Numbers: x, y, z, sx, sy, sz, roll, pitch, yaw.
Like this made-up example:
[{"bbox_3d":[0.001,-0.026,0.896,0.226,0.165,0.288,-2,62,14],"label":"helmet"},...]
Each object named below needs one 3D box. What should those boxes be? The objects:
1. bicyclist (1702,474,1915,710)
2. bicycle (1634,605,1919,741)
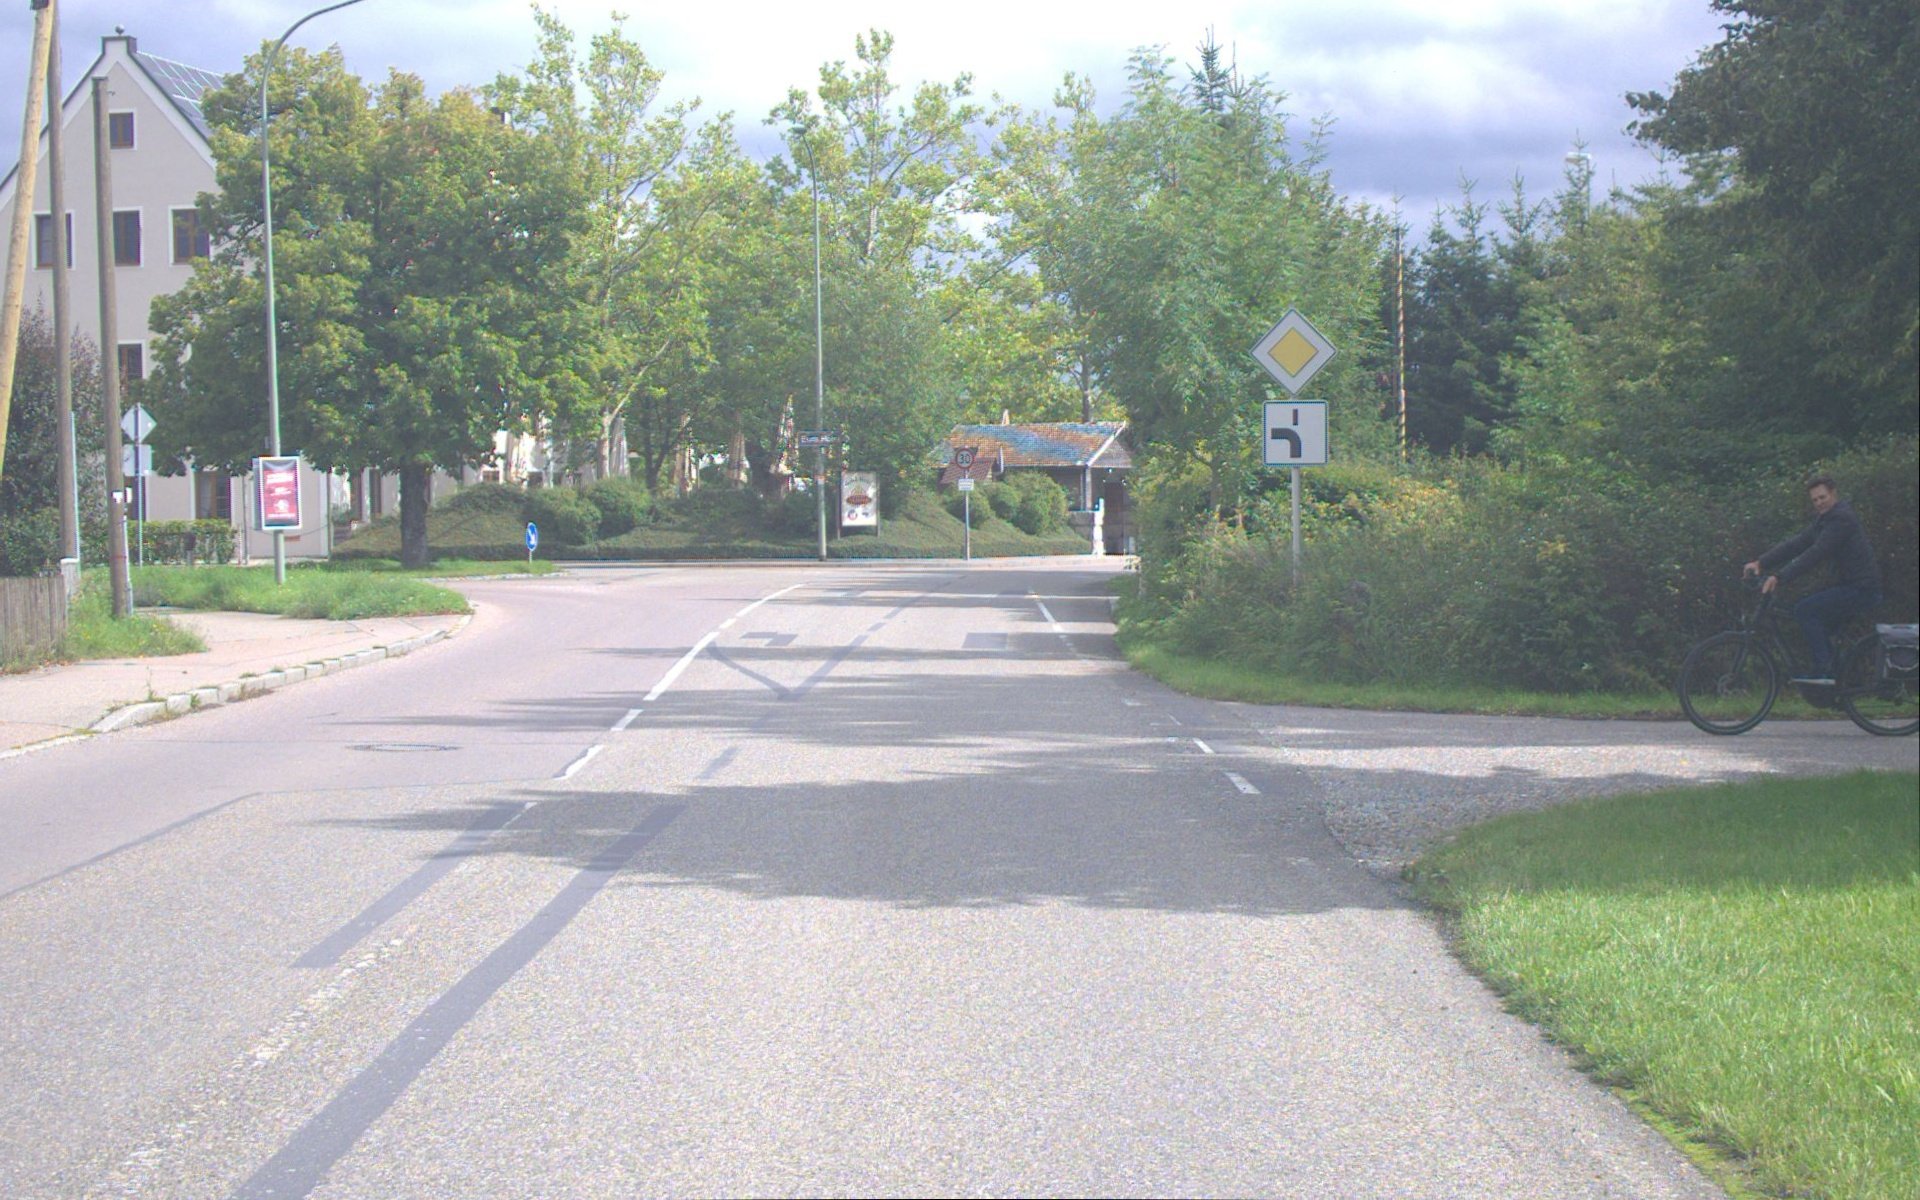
[{"bbox_3d":[5.841,-0.066,23.705,1.017,1.579,1.054,0,2,-14],"label":"bicyclist"},{"bbox_3d":[5.856,0.490,23.730,2.115,0.861,1.054,0,2,-14],"label":"bicycle"}]
